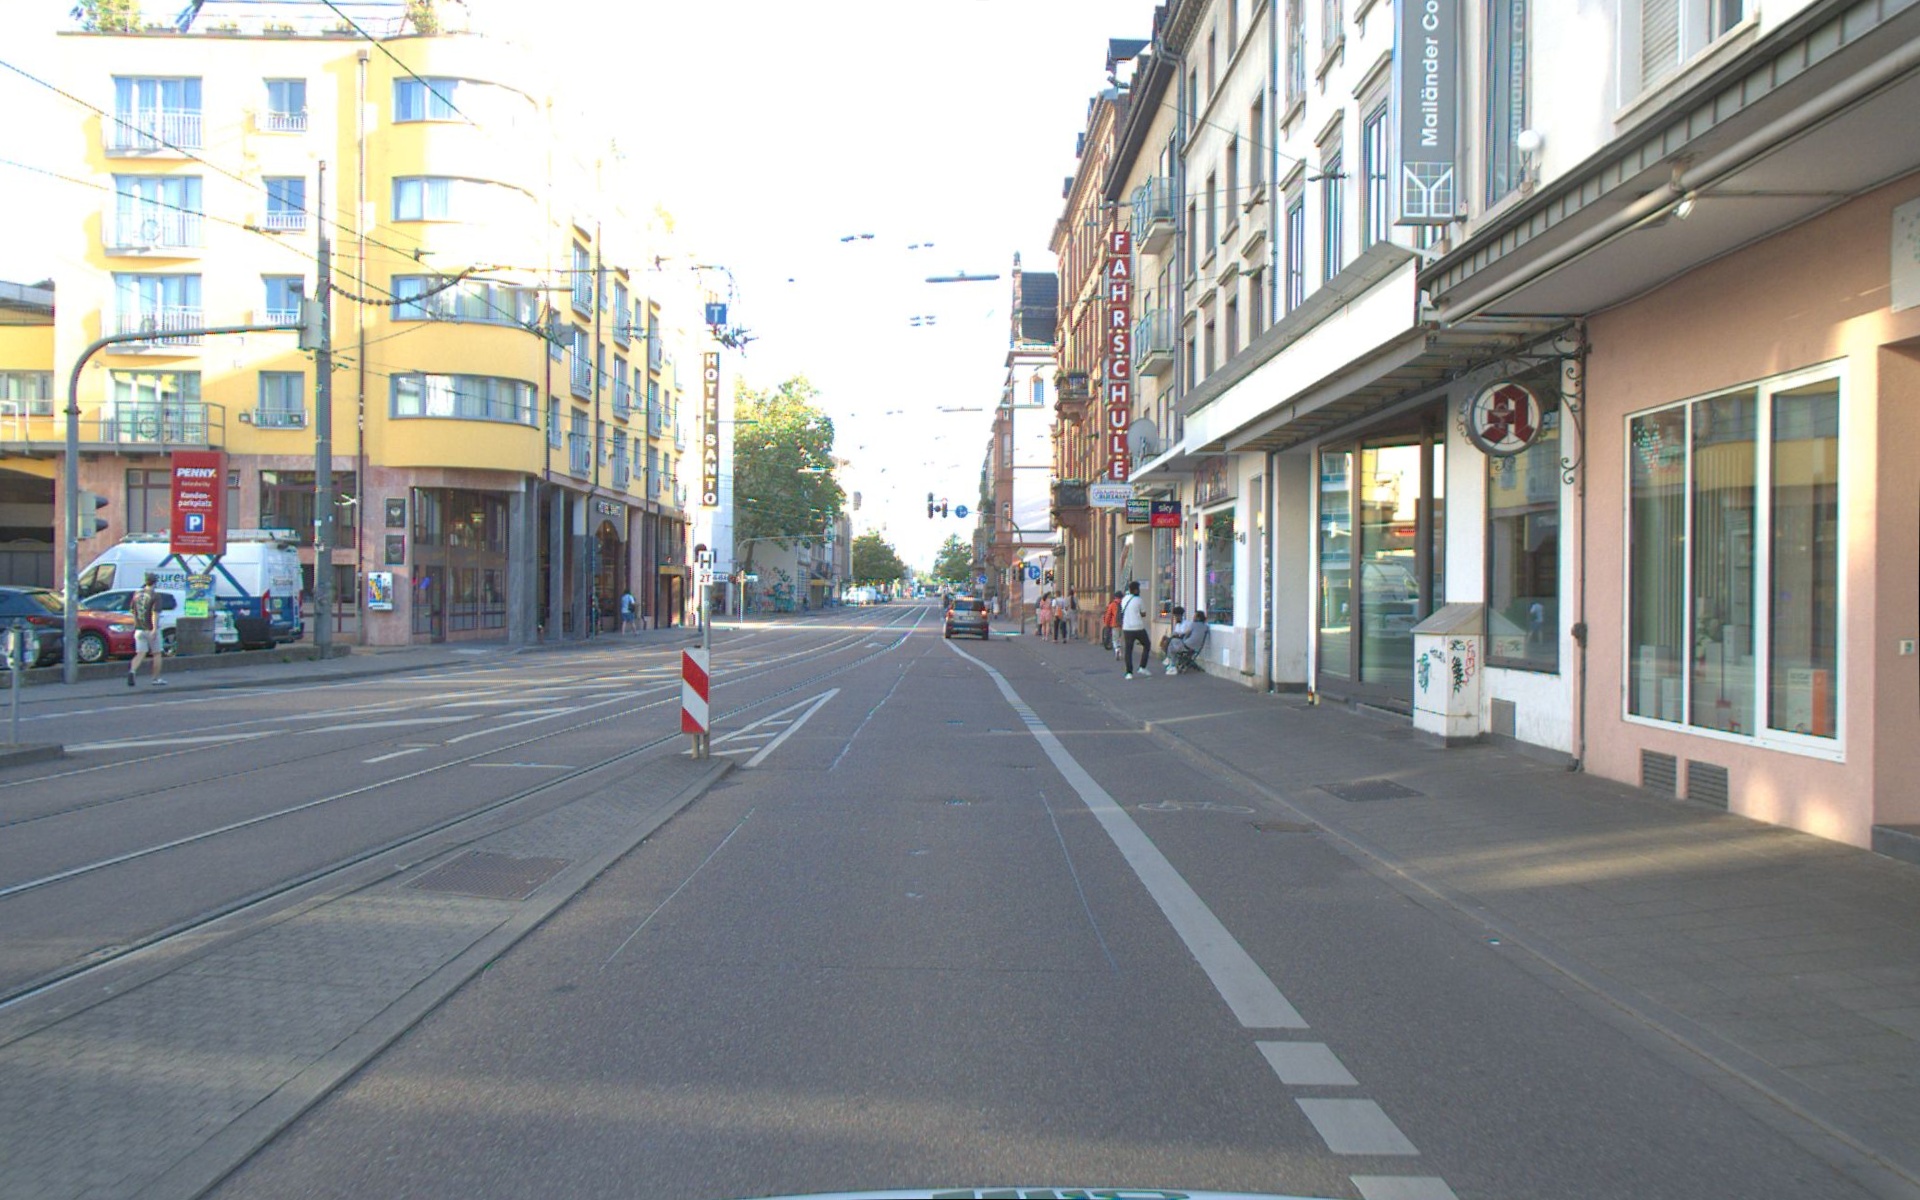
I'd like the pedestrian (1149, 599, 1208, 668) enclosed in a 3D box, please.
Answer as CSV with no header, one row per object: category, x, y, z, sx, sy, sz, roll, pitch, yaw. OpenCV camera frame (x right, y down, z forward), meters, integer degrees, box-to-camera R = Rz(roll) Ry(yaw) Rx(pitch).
pedestrian,4.359,0.671,32.974,0.822,1.277,0.698,-6,1,-36

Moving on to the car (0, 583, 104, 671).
car,-17.876,0.443,29.242,4.494,1.501,1.879,0,1,0

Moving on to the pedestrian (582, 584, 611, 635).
pedestrian,-13.531,0.354,61.552,0.782,1.801,0.749,5,0,-1

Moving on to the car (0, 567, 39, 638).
car,-25.091,0.062,41.307,1.953,1.766,4.119,0,0,-2

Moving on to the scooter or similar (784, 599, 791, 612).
scooter or similar,-14.691,0.458,141.045,0.506,1.076,1.477,0,0,-3

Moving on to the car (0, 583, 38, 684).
car,-17.704,0.522,26.494,4.794,1.611,1.879,0,1,0

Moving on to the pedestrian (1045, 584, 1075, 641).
pedestrian,3.338,0.421,55.475,0.789,1.831,1.091,-4,1,-2

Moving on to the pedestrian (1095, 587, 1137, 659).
pedestrian,3.751,0.542,39.883,0.782,1.655,0.825,-5,0,-1

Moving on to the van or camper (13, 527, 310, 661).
van or camper,-17.701,-0.134,36.869,5.491,2.876,2.315,0,0,0

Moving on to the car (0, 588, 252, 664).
car,-17.333,0.518,34.290,4.494,1.501,1.879,0,1,0

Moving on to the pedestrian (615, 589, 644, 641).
pedestrian,-12.285,0.566,61.571,0.736,1.850,1.046,5,0,-1

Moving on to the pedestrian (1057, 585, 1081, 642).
pedestrian,3.861,0.471,58.610,0.677,1.941,0.670,-4,1,-2

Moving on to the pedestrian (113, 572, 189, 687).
pedestrian,-13.330,0.468,27.282,0.816,1.864,0.909,0,0,-1

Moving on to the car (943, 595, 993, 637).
car,0.300,0.638,67.427,1.953,1.646,3.999,0,0,-1

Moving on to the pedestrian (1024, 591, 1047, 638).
pedestrian,3.032,0.575,66.488,0.789,1.831,0.761,-4,1,-1

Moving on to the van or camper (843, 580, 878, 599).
van or camper,-14.350,-1.516,238.378,4.589,2.608,1.978,1,-1,-32

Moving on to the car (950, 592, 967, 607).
car,-0.175,-0.023,190.237,1.910,1.713,4.000,0,0,0

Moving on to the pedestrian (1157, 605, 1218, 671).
pedestrian,4.373,0.731,31.879,0.694,1.195,1.010,-5,1,-20

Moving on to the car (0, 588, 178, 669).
car,-17.761,0.524,31.856,4.494,1.501,1.879,0,1,0

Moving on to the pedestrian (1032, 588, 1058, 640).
pedestrian,3.056,0.501,59.613,0.789,1.831,0.761,-4,1,-2

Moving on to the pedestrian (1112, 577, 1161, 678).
pedestrian,3.387,0.526,31.709,0.690,1.843,0.680,-5,0,15

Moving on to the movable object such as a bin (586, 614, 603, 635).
movable object such as a bin,-13.403,0.892,60.718,0.375,0.728,0.841,5,0,1
